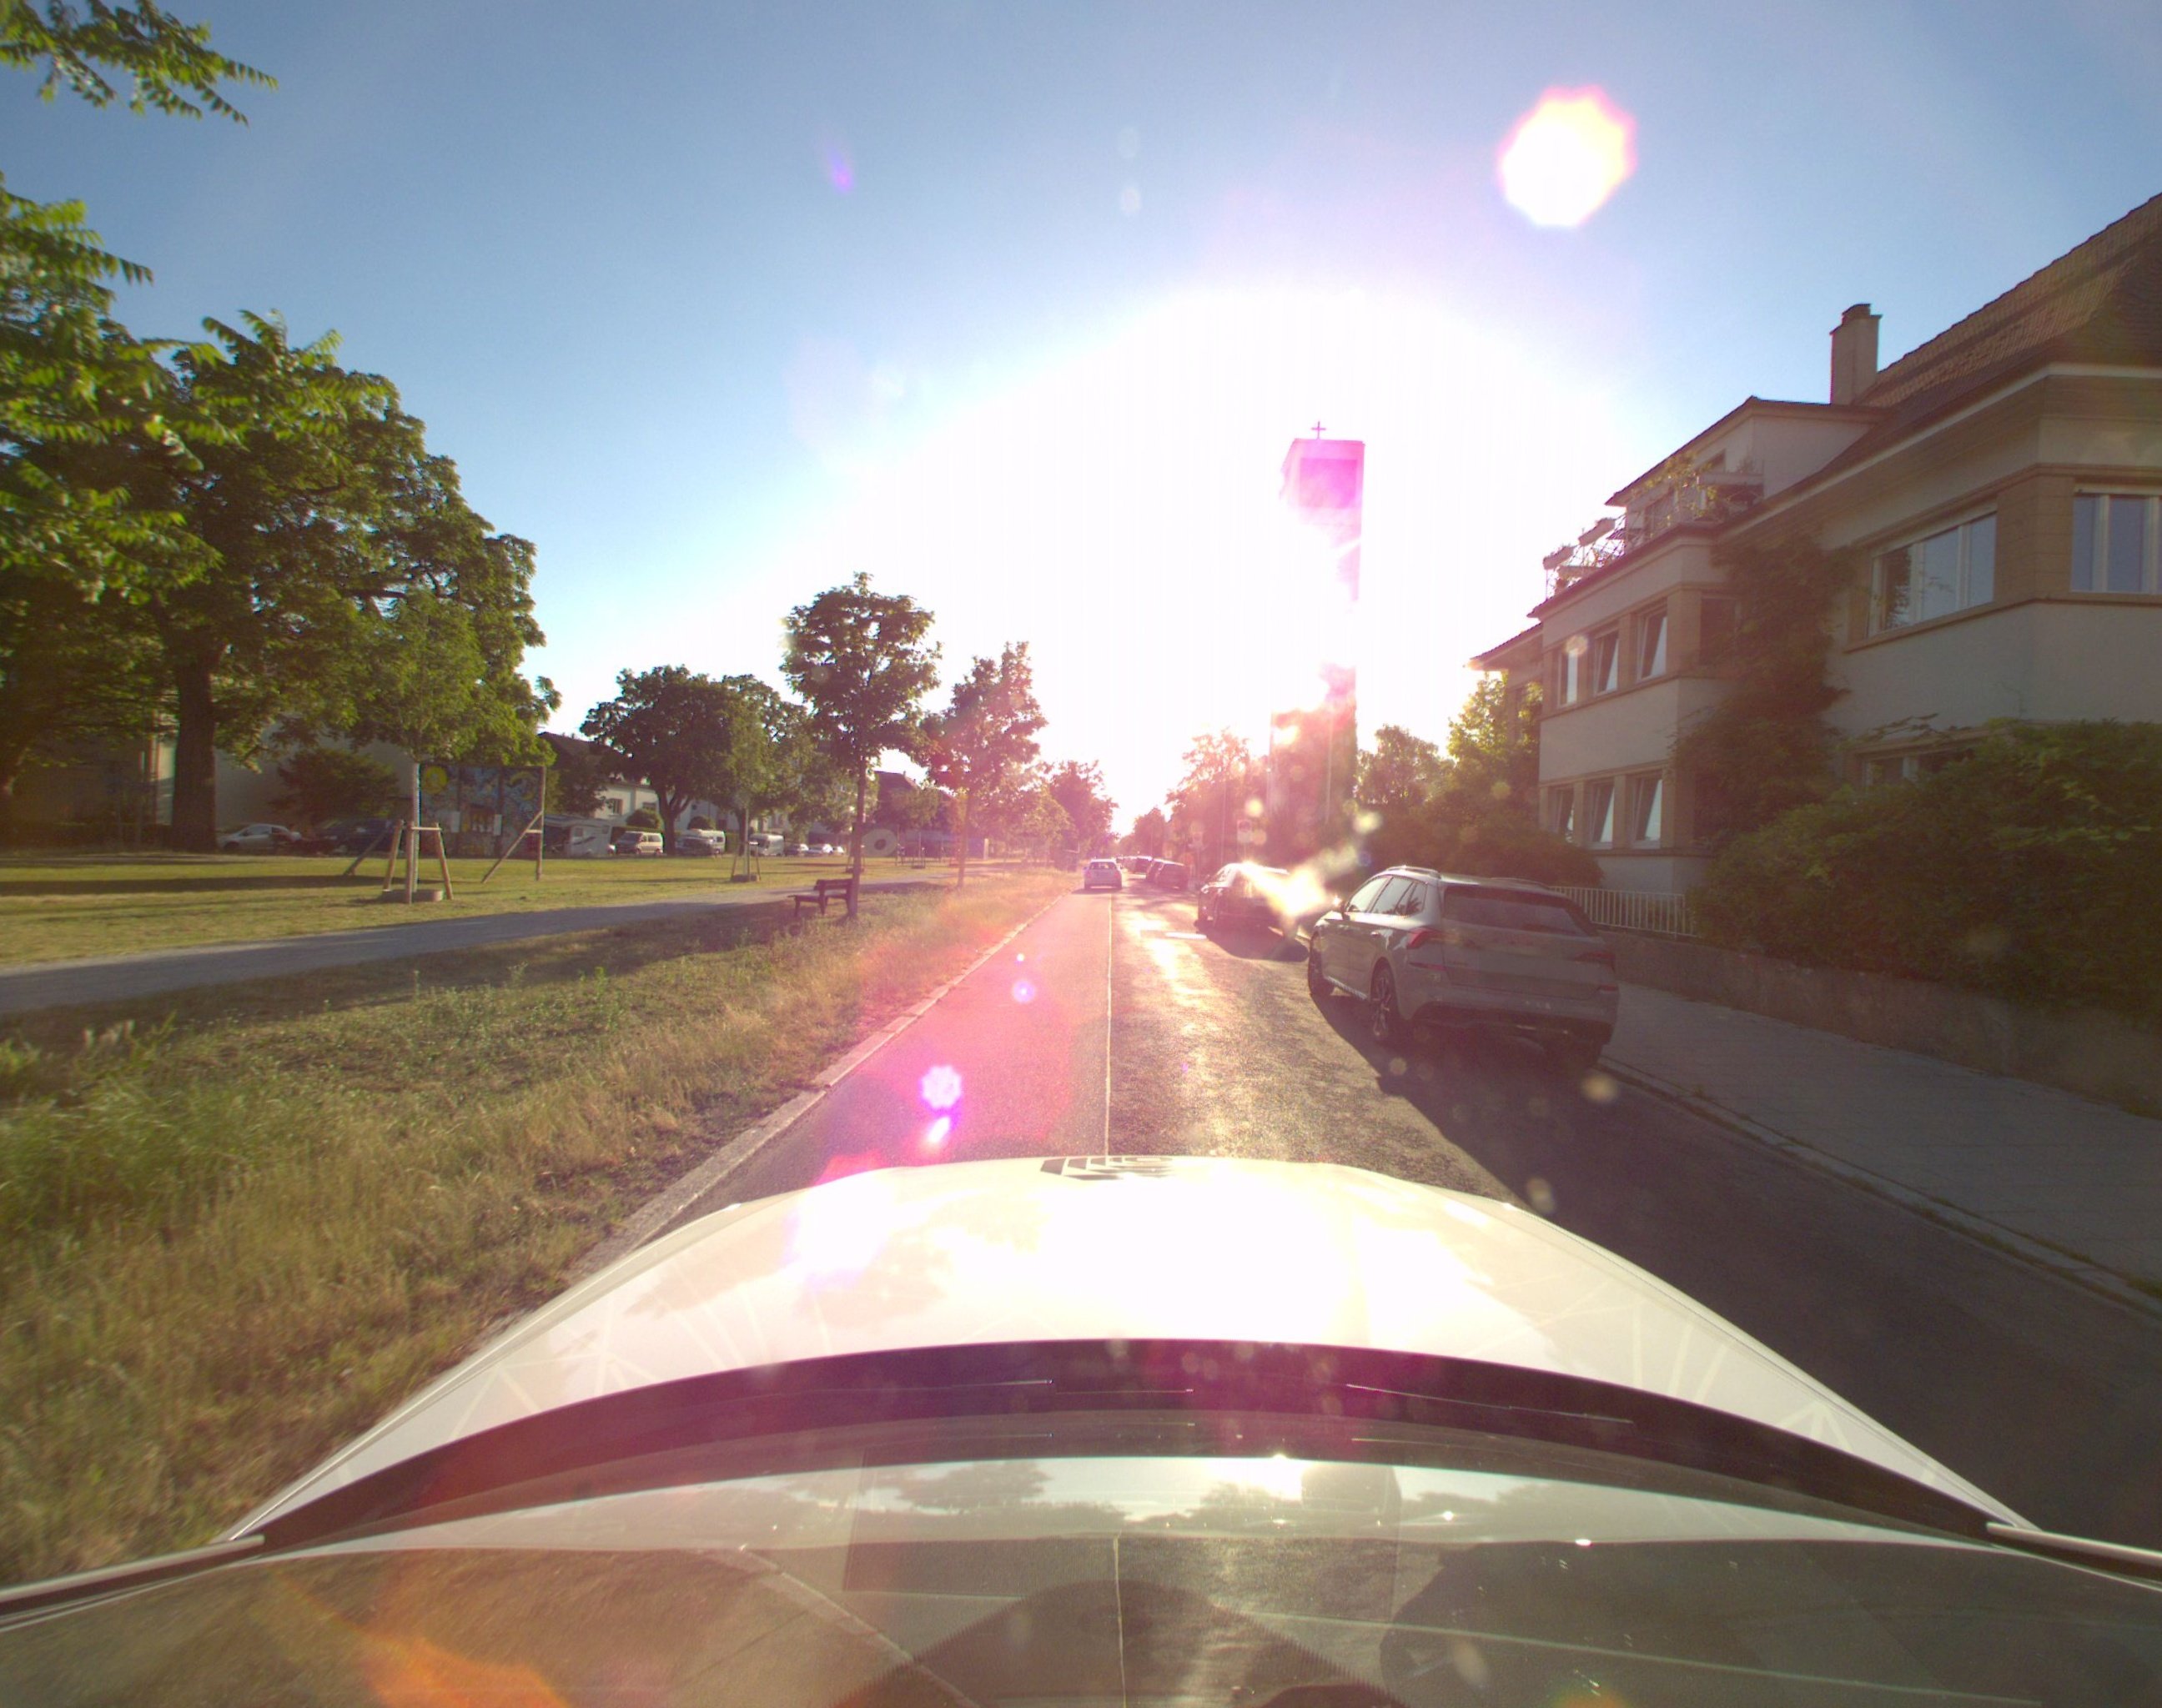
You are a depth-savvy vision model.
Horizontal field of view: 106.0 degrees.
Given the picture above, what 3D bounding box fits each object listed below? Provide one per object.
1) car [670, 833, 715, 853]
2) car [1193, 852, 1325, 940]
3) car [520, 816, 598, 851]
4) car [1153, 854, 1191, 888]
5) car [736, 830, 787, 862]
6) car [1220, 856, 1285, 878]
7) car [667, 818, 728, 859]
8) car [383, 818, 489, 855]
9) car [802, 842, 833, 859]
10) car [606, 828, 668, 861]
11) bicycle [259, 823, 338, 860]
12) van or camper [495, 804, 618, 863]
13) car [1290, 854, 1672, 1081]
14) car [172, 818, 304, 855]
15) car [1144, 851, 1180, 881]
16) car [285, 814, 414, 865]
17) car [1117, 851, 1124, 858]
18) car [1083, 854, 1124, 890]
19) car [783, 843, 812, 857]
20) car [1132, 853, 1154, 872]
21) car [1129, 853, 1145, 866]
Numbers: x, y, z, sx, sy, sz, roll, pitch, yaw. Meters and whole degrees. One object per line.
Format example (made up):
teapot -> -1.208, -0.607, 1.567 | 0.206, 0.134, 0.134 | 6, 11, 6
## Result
car -> -30.943, -0.852, 65.049 | 1.409, 1.564, 4.311 | 2, 0, 1
car -> 3.991, 0.891, 19.130 | 1.987, 1.597, 4.887 | 6, -1, 1
car -> -31.732, -1.208, 49.646 | 1.985, 2.013, 4.003 | 2, 0, 3
car -> 4.916, 0.872, 44.607 | 1.681, 1.527, 4.178 | 6, 1, 2
car -> -30.673, -0.734, 78.398 | 2.251, 2.826, 5.875 | -2, -1, 3
car -> 13.799, 1.044, 65.758 | 4.829, 1.486, 2.002 | 2, -3, 1
car -> -36.453, -1.401, 77.671 | 2.294, 3.559, 6.769 | -2, -1, 2
car -> -37.941, -0.976, 48.092 | 1.962, 2.004, 5.053 | 2, 0, 3
car -> -30.350, -0.383, 94.033 | 1.826, 1.899, 4.646 | -2, -1, 3
car -> -36.971, -0.732, 67.985 | 2.128, 2.604, 5.325 | -2, -1, 0
bicycle -> -29.483, -0.456, 30.749 | 0.508, 1.342, 2.334 | 2, 0, 6
van or camper -> -31.732, -1.208, 49.646 | 2.631, 3.262, 6.910 | 2, 0, 3
car -> 3.567, 0.881, 8.347 | 1.875, 1.536, 4.466 | 5, -1, 4
car -> -38.328, -0.774, 37.174 | 1.987, 1.542, 3.810 | 2, 0, 0
car -> 5.077, 0.705, 51.578 | 1.815, 1.561, 4.625 | 8, 1, 3
car -> -38.044, -0.677, 42.591 | 1.929, 2.418, 5.120 | -2, -1, 3
car -> 11.529, 0.200, 236.453 | 1.980, 2.023, 4.003 | 2, 0, 3
car -> 1.128, 0.826, 39.016 | 1.816, 1.566, 4.003 | 1, 0, 3
car -> -35.698, -0.493, 102.696 | 1.775, 1.703, 4.669 | -2, -1, 2
car -> 6.067, 0.824, 79.876 | 1.826, 1.732, 5.034 | 4, 0, 2
car -> 7.371, 0.701, 107.722 | 1.985, 1.462, 4.566 | 3, 0, 3
